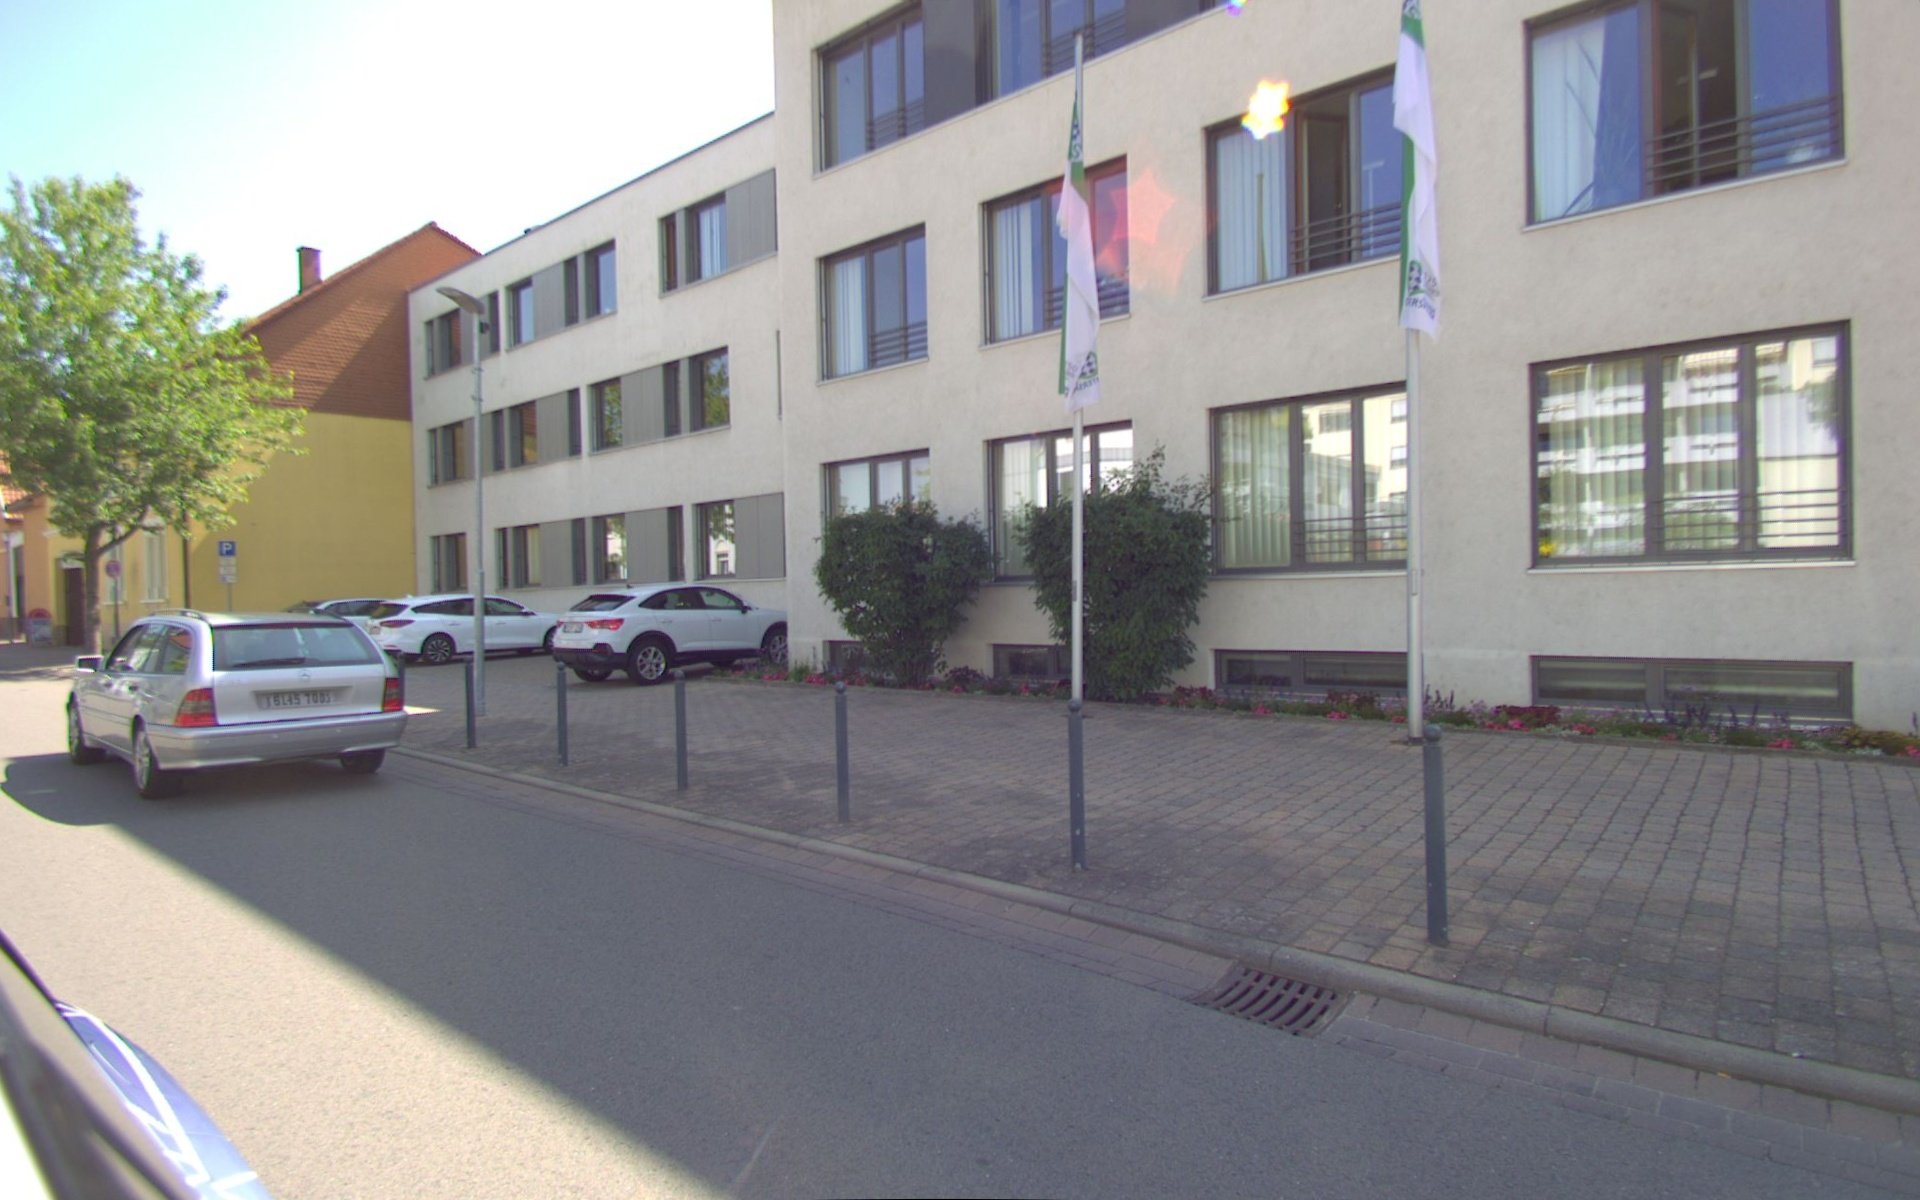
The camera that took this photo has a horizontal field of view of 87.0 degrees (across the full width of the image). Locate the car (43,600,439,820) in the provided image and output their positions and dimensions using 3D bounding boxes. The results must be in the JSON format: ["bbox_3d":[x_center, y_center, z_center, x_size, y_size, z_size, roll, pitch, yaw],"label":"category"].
[{"bbox_3d":[-6.608,0.759,9.107,4.432,1.475,1.861,0,1,40],"label":"car"}]

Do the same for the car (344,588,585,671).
[{"bbox_3d":[-11.010,0.572,22.756,1.933,1.565,4.459,0,2,40],"label":"car"}]

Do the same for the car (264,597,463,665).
[{"bbox_3d":[-15.087,0.740,25.759,1.806,1.462,3.948,-2,1,39],"label":"car"}]

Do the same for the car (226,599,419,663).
[{"bbox_3d":[-17.168,0.797,27.412,1.968,1.442,3.952,-2,1,36],"label":"car"}]

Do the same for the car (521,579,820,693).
[{"bbox_3d":[-4.772,0.505,17.248,2.145,1.565,4.463,-1,2,39],"label":"car"}]
